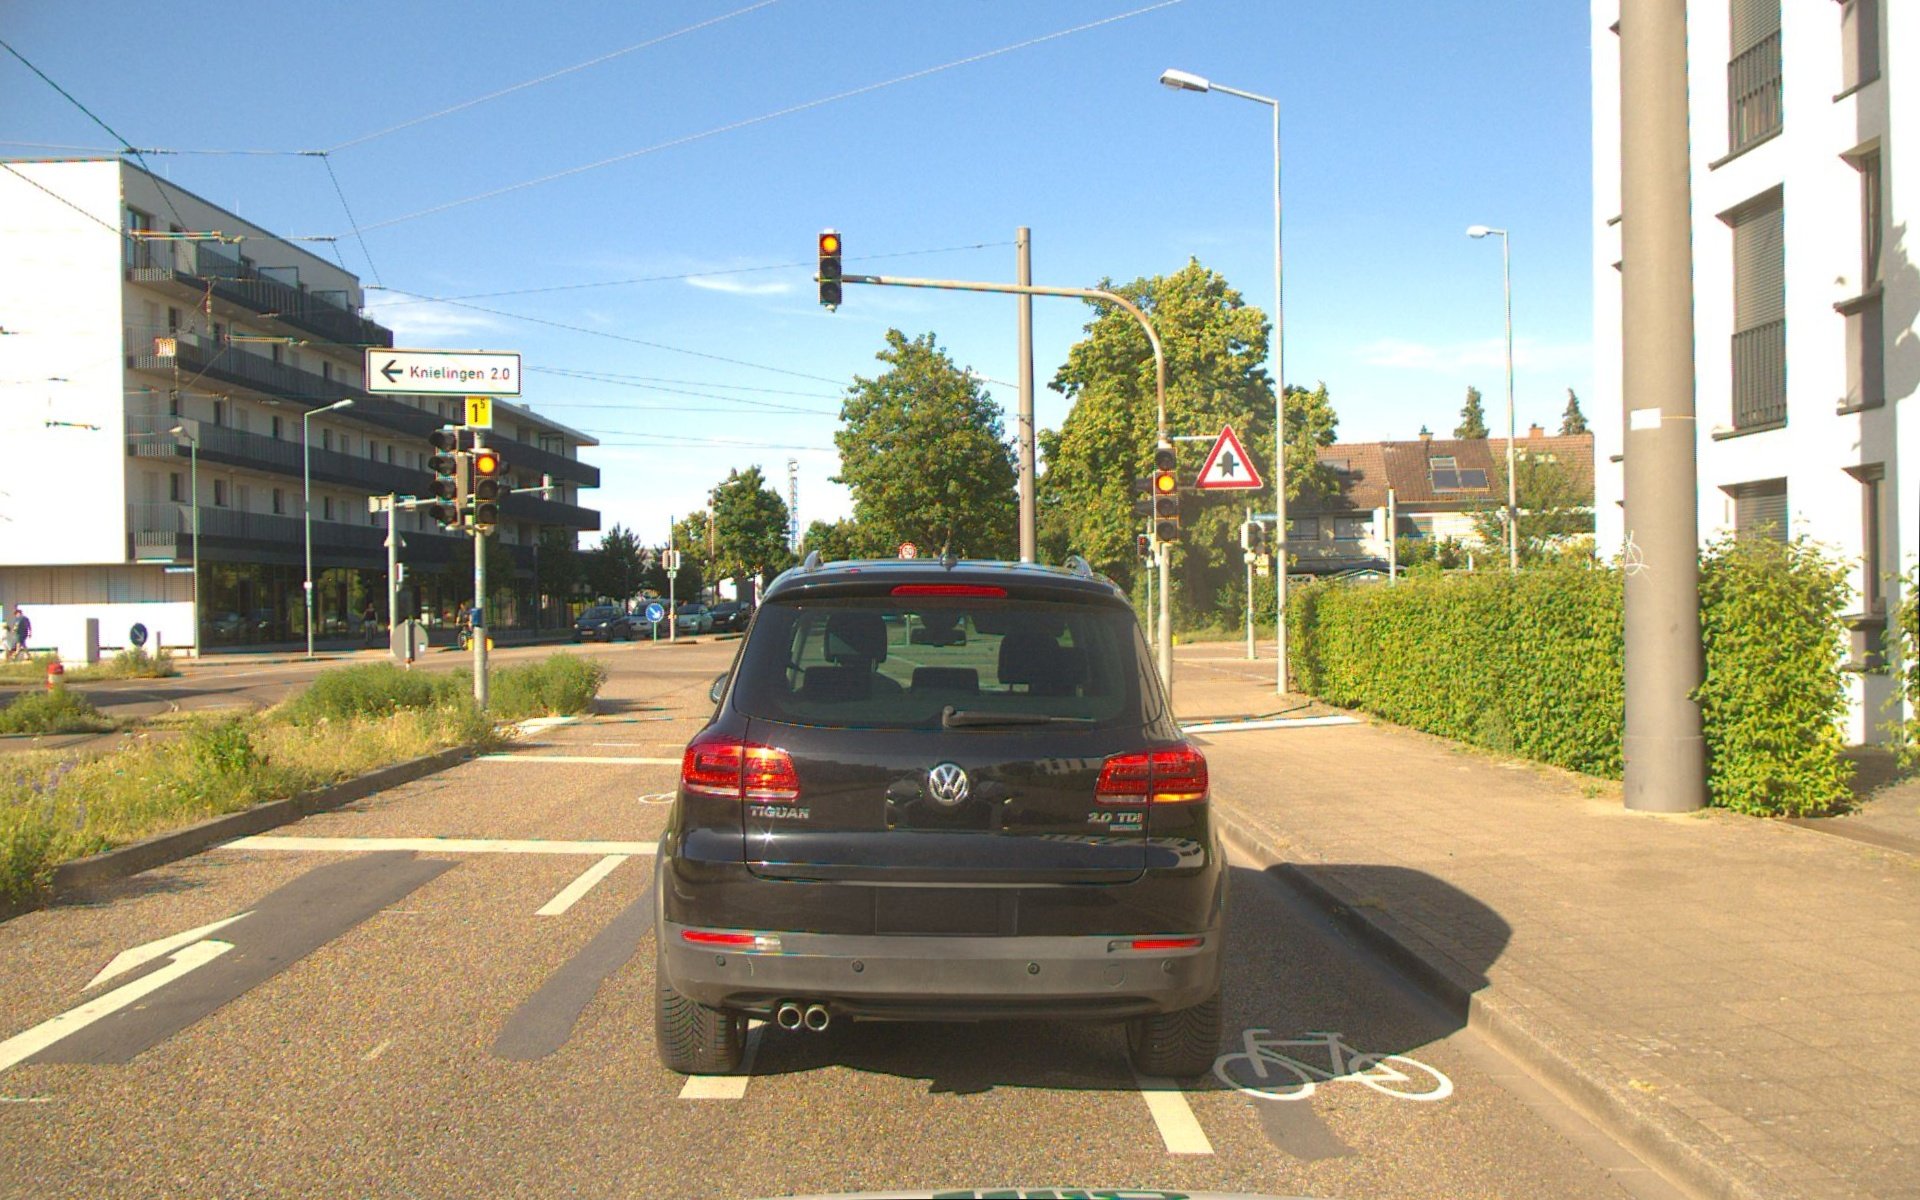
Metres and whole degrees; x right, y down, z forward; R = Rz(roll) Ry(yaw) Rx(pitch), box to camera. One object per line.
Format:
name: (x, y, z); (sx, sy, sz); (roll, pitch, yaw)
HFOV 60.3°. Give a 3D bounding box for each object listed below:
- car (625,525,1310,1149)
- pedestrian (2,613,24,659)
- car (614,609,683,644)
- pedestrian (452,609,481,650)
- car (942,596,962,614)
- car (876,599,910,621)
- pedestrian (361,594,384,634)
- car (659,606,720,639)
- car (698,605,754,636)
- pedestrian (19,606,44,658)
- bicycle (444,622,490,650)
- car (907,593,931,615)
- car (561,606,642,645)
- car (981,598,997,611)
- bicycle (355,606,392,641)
car: (-0.002, 0.653, 6.480); (1.831, 1.666, 3.999); (1, 0, -1)
pedestrian: (-31.929, 1.198, 55.760); (0.433, 1.529, 0.517); (1, -1, -6)
car: (-14.633, 1.222, 77.942); (1.951, 1.601, 4.342); (1, 0, 7)
pedestrian: (-18.697, 1.110, 62.648); (0.696, 1.499, 0.954); (1, 0, 6)
car: (-0.836, 0.522, 177.135); (1.952, 1.869, 4.001); (1, 0, 2)
car: (-4.826, 0.695, 119.099); (1.824, 1.511, 4.113); (-1, 0, 7)
pedestrian: (-23.010, 0.541, 64.805); (0.629, 1.535, 0.596); (1, -1, 4)
car: (-13.823, 1.140, 84.708); (1.951, 1.601, 4.342); (1, 0, 7)
car: (-12.817, 1.112, 90.800); (1.951, 1.601, 4.342); (1, 0, 7)
pedestrian: (-31.618, 1.083, 56.318); (0.532, 1.774, 0.517); (1, -1, -6)
bicycle: (-18.675, 1.343, 62.708); (0.755, 1.006, 2.434); (1, 0, 6)
car: (-3.397, 0.332, 138.837); (1.825, 1.750, 3.687); (-1, 0, 1)
car: (-15.383, 1.090, 71.182); (1.951, 1.601, 4.343); (1, 0, 9)
car: (4.070, 0.633, 231.916); (1.953, 1.713, 3.998); (1, 0, -2)
bicycle: (-23.006, 0.904, 64.897); (0.617, 1.355, 1.913); (1, 0, 4)
